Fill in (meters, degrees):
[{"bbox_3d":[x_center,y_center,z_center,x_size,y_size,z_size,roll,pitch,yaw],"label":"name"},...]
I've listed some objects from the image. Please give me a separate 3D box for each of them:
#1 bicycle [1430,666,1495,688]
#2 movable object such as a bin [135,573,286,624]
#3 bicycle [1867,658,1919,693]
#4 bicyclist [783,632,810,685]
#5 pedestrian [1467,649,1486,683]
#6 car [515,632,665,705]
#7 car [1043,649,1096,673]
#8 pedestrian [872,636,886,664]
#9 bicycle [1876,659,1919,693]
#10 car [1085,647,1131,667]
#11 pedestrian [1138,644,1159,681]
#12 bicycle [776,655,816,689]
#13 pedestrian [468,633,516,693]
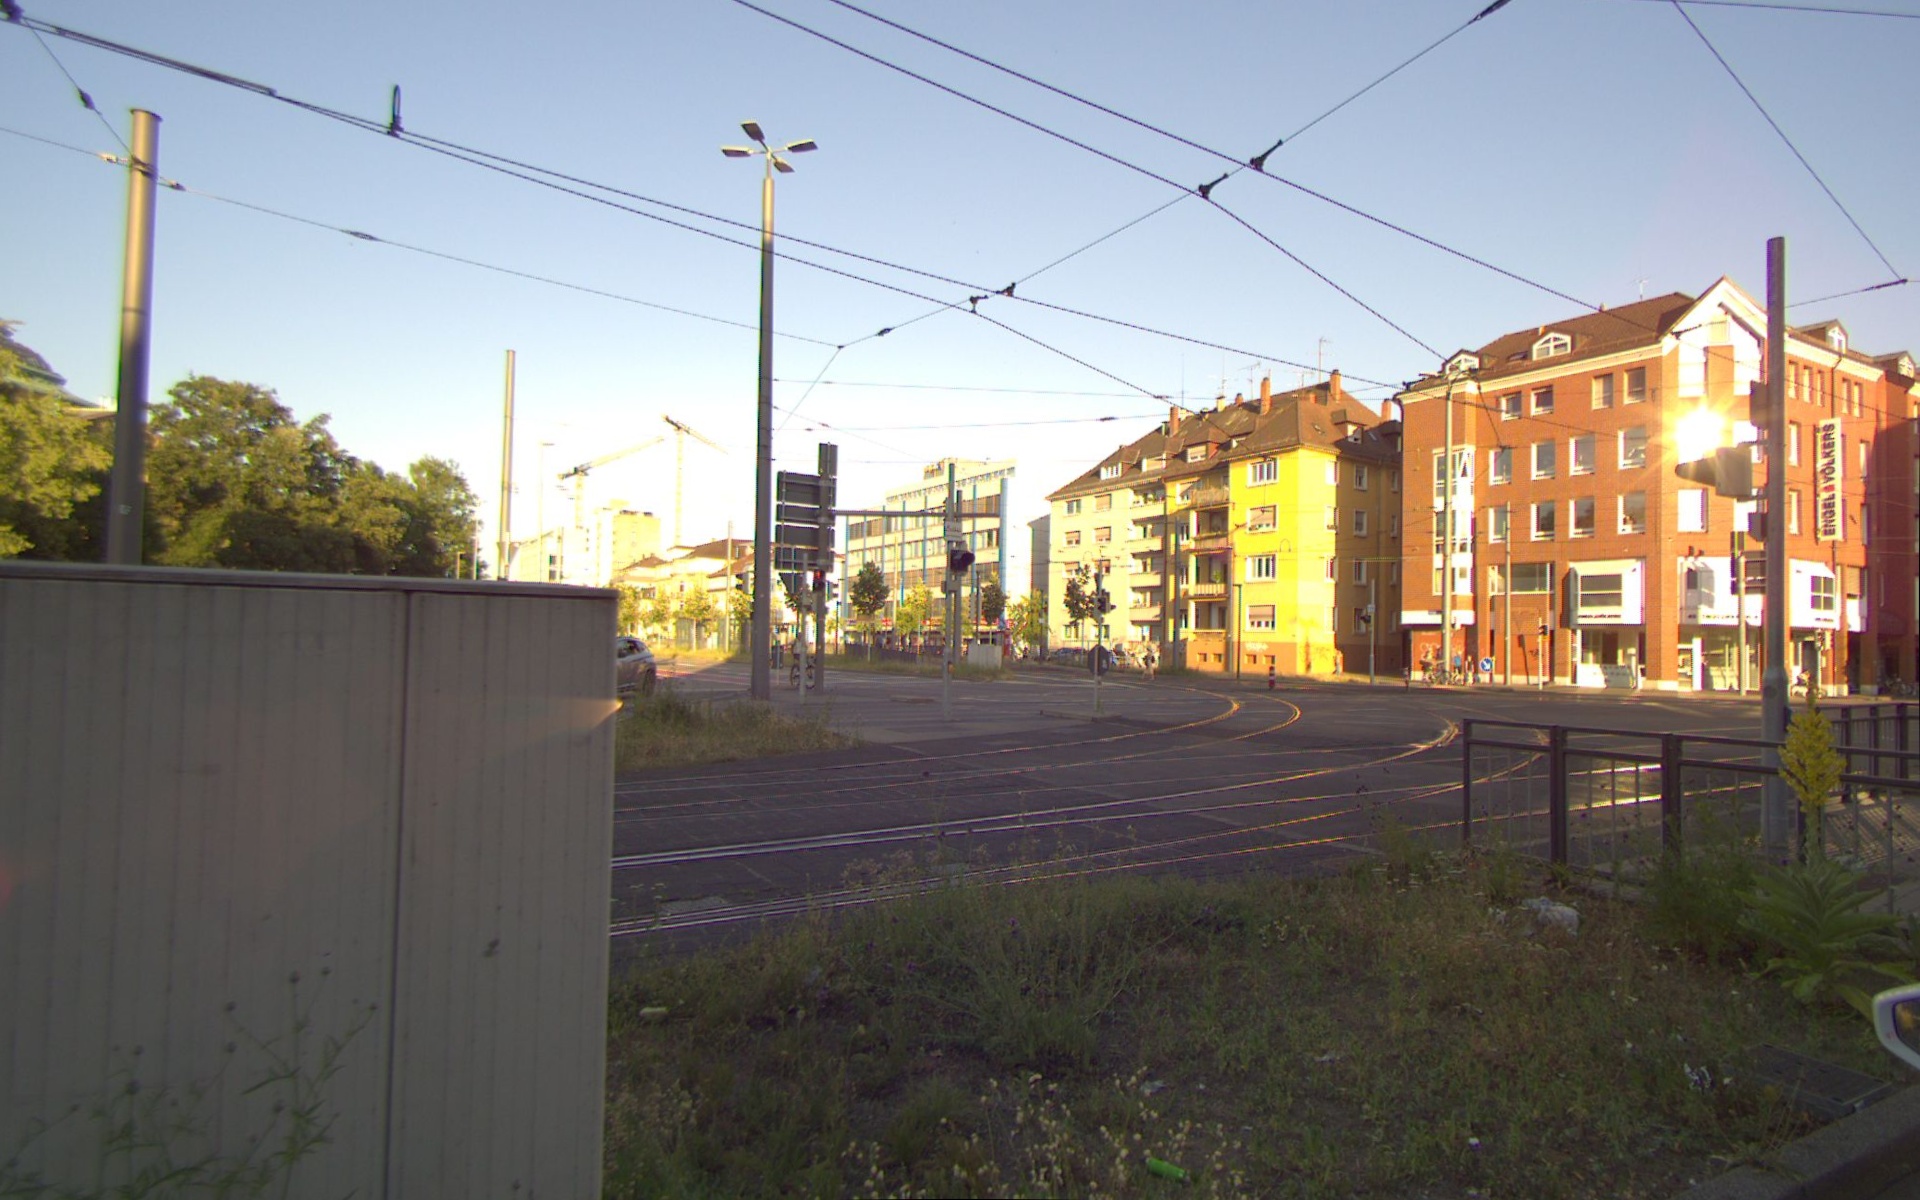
[{"bbox_3d":[26.846,4.098,53.699,0.923,1.030,3.031,3,-3,-37],"label":"bicycle"},{"bbox_3d":[-32.468,-0.036,43.635,4.926,2.040,2.000,1,-2,-1],"label":"movable object such as a bin"},{"bbox_3d":[49.586,3.947,52.355,1.056,1.748,3.284,2,-3,-28],"label":"bicycle"},{"bbox_3d":[-5.336,1.894,32.706,0.590,1.692,0.741,3,-3,-33],"label":"bicyclist"},{"bbox_3d":[27.754,3.544,53.988,0.808,1.801,0.632,3,-3,-38],"label":"pedestrian"},{"bbox_3d":[-9.371,1.712,25.893,1.910,1.682,4.539,1,-3,3],"label":"car"},{"bbox_3d":[9.088,5.074,83.530,2.098,1.727,4.310,5,-4,-33],"label":"car"},{"bbox_3d":[-4.687,2.879,58.403,0.559,1.611,0.685,2,-2,-28],"label":"pedestrian"},{"bbox_3d":[50.597,4.020,52.909,1.056,1.748,3.283,2,-3,-29],"label":"bicycle"},{"bbox_3d":[11.634,4.463,79.015,1.721,1.438,3.512,2,-3,-33],"label":"car"},{"bbox_3d":[8.152,2.693,43.390,0.695,1.561,0.635,1,-2,-15],"label":"pedestrian"},{"bbox_3d":[-5.363,2.329,32.714,0.590,1.036,1.831,3,-3,-33],"label":"bicycle"},{"bbox_3d":[-13.952,1.867,29.953,0.805,1.758,0.944,0,-2,17],"label":"pedestrian"}]
